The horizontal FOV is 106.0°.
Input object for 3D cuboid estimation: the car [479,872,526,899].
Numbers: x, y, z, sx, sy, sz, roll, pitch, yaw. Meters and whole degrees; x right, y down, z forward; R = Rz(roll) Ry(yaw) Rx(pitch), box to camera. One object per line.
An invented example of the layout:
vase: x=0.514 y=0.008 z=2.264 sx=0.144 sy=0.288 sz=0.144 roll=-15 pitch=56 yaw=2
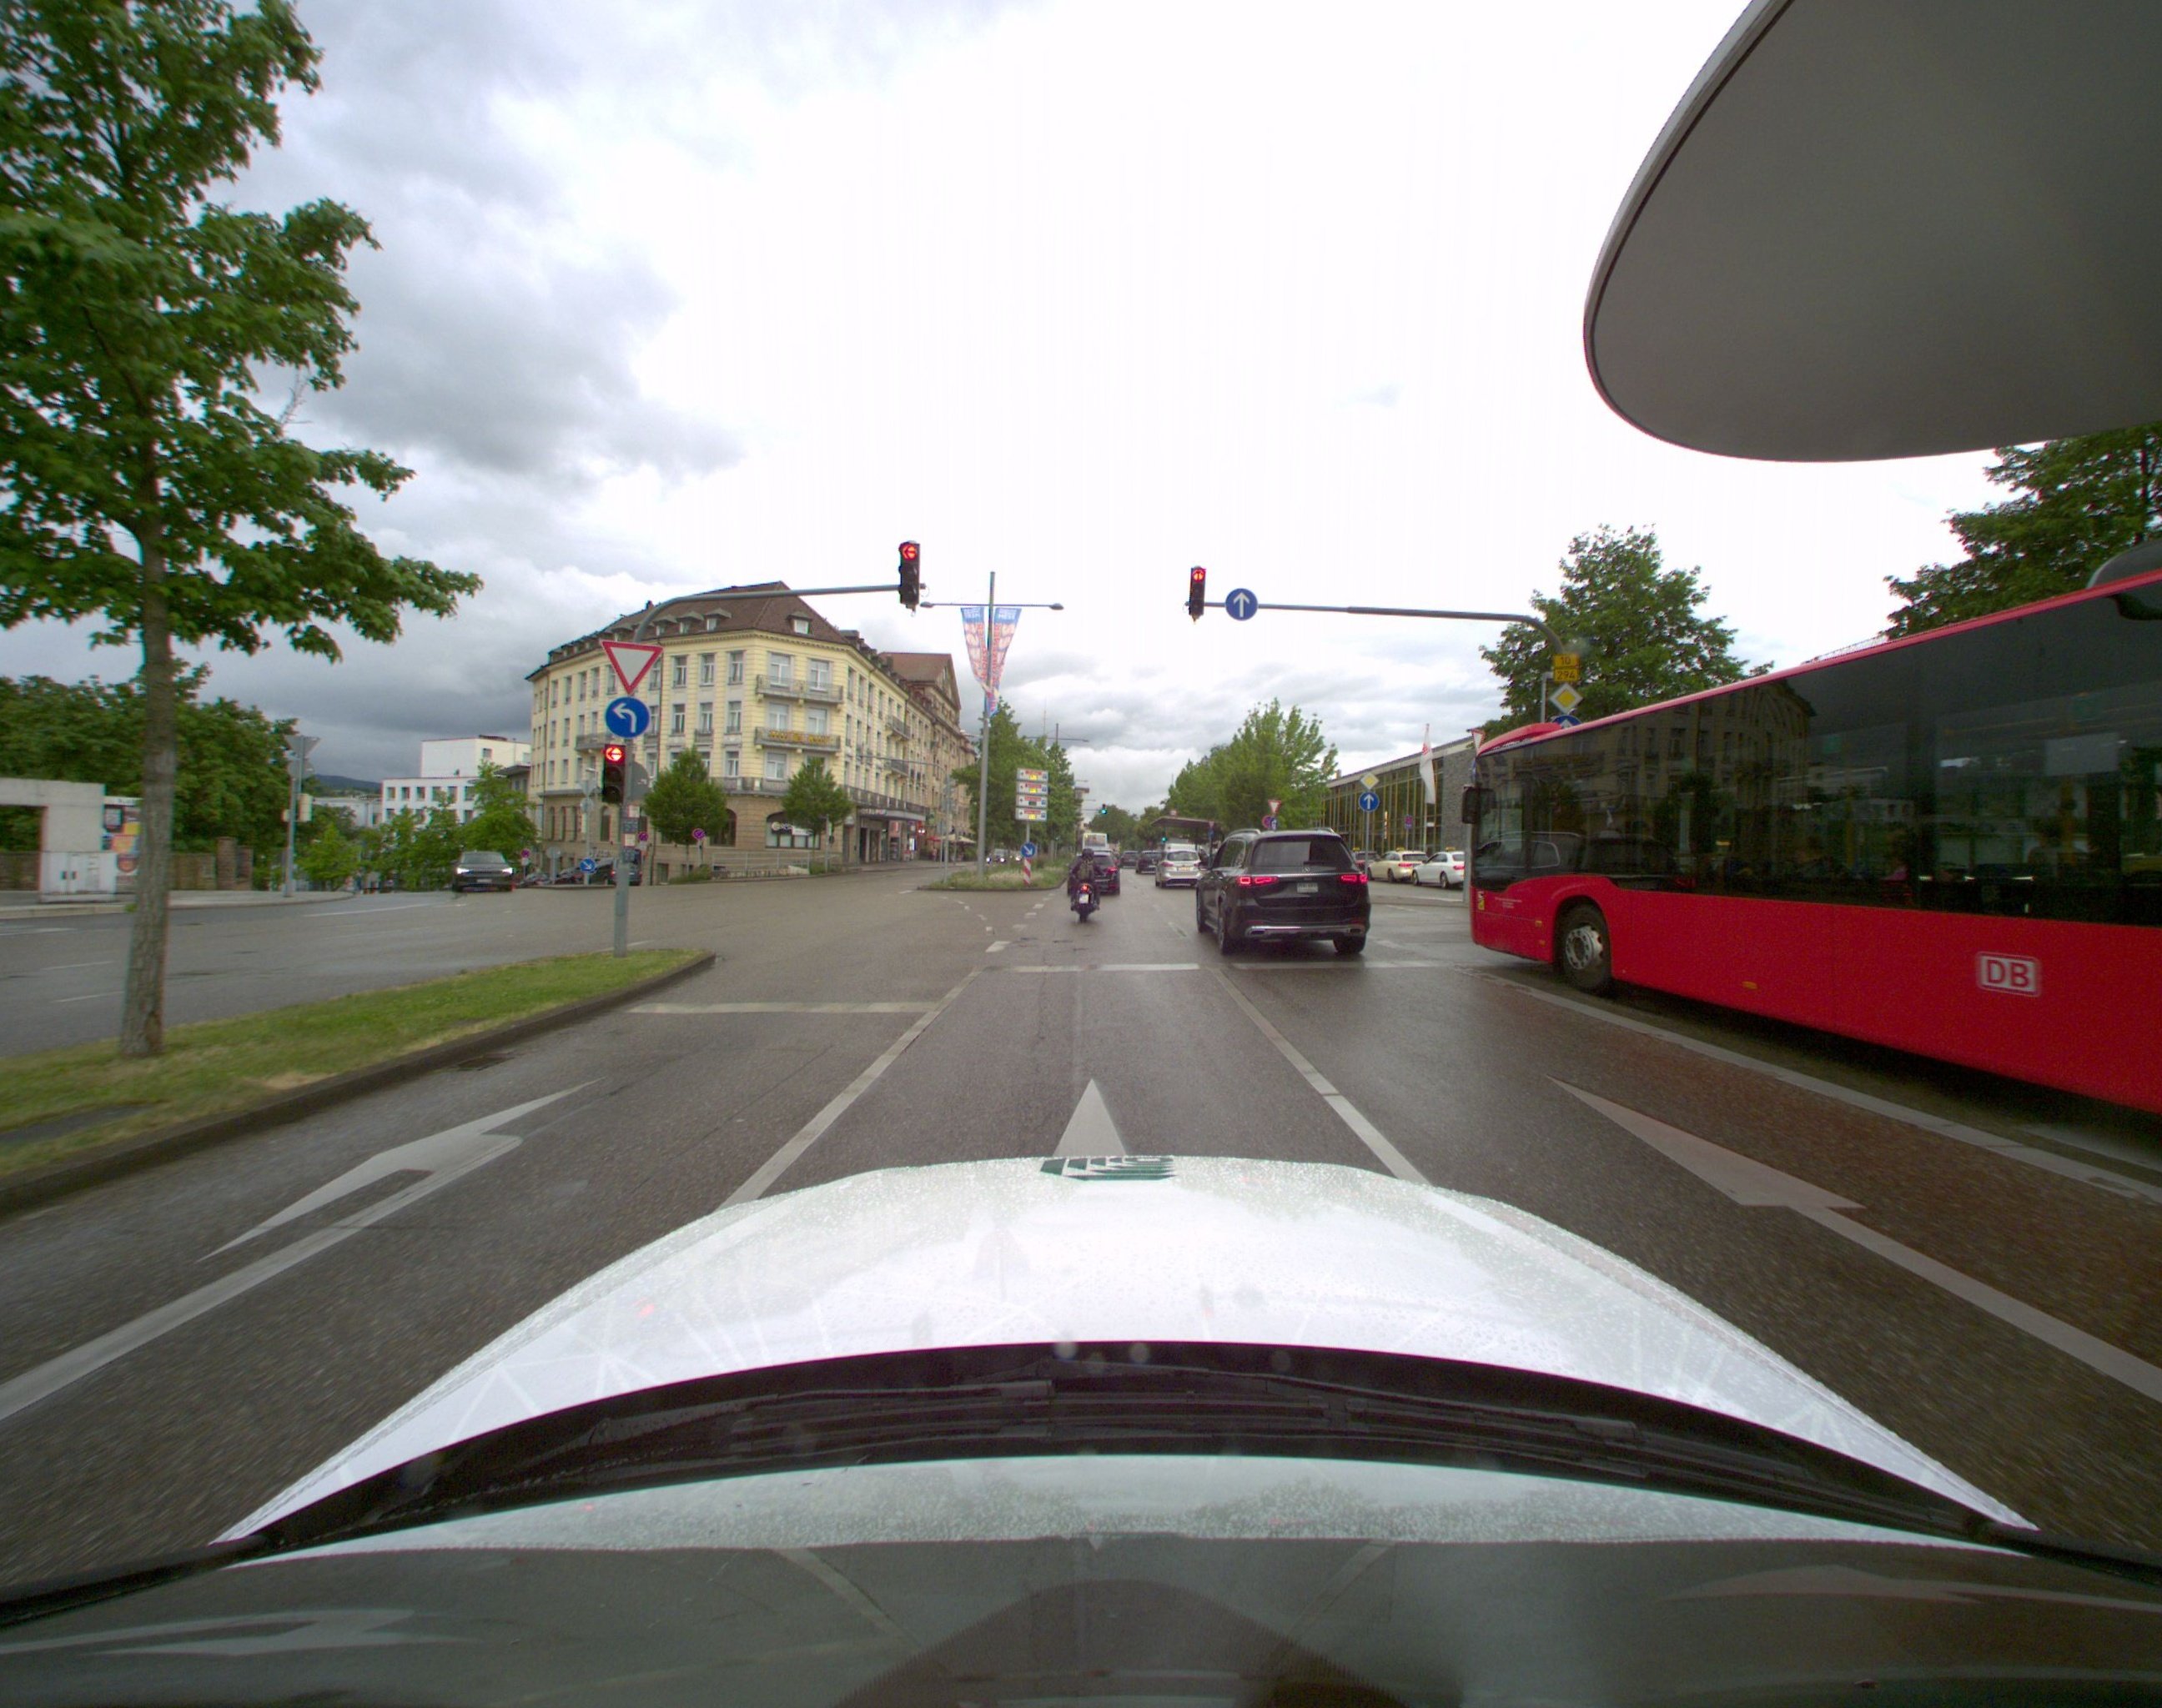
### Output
car: x=-40.965 y=2.201 z=57.674 sx=3.575 sy=1.812 sz=1.788 roll=0 pitch=0 yaw=38

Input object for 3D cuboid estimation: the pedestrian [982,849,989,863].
pedestrian: x=-11.626 y=0.227 z=99.214 sx=0.672 sy=1.701 sz=0.634 roll=0 pitch=0 yaw=1

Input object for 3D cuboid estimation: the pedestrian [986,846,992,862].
pedestrian: x=-11.138 y=-0.002 z=98.851 sx=0.756 sy=2.013 sz=0.832 roll=0 pitch=0 yaw=-5

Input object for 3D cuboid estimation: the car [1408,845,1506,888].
car: x=14.717 y=0.456 z=32.187 sx=1.768 sy=1.589 sz=4.615 roll=0 pitch=0 yaw=0

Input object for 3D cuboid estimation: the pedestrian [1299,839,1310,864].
pedestrian: x=21.936 y=-0.273 z=79.971 sx=0.839 sy=2.411 sz=0.863 roll=0 pitch=0 yaw=3

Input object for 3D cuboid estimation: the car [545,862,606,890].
car: x=-31.958 y=1.379 z=51.494 sx=3.948 sy=1.640 sz=2.013 roll=-1 pitch=-1 yaw=37

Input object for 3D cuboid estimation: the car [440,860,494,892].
car: x=-40.480 y=1.428 z=53.661 sx=3.949 sy=2.013 sz=2.012 roll=0 pitch=0 yaw=40

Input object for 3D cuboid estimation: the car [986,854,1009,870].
car: x=-8.625 y=0.773 z=84.297 sx=1.764 sy=1.530 sz=4.081 roll=-3 pitch=0 yaw=3

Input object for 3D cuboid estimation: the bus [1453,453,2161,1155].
bus: x=6.322 y=-0.238 z=6.029 sx=2.733 sy=3.174 sz=10.198 roll=0 pitch=0 yaw=2

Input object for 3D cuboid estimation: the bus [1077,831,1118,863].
bus: x=1.632 y=-0.709 z=89.162 sx=3.750 sy=3.209 sz=15.515 roll=0 pitch=0 yaw=-2

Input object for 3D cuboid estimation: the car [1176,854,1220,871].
car: x=12.718 y=0.898 z=88.664 sx=4.349 sy=1.857 sz=1.988 roll=0 pitch=0 yaw=-19

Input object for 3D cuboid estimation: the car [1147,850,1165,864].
car: x=8.442 y=0.280 z=91.885 sx=1.809 sy=1.530 sz=4.001 roll=0 pitch=0 yaw=1

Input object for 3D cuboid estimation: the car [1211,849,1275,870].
car: x=11.397 y=0.382 z=57.622 sx=1.788 sy=1.385 sz=4.317 roll=0 pitch=0 yaw=-39

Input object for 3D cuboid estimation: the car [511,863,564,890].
car: x=-36.309 y=1.469 z=54.402 sx=3.864 sy=1.640 sz=1.805 roll=0 pitch=0 yaw=37

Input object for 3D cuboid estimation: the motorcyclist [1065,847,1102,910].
motorcyclist: x=0.065 y=0.515 z=17.491 sx=0.761 sy=1.331 sz=0.866 roll=0 pitch=0 yaw=1

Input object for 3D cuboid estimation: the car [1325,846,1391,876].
car: x=14.917 y=0.371 z=44.133 sx=1.907 sy=1.524 sz=4.741 roll=0 pitch=0 yaw=0

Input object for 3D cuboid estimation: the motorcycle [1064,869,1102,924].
motorcycle: x=0.067 y=0.878 z=17.493 sx=0.763 sy=1.077 sz=2.176 roll=0 pitch=0 yaw=2

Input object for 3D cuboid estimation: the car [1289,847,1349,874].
car: x=14.694 y=0.392 z=50.626 sx=1.990 sy=1.600 sz=4.814 roll=0 pitch=0 yaw=-5

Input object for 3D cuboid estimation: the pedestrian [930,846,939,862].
pedestrian: x=-14.026 y=0.022 z=77.848 sx=0.666 sy=1.510 sz=0.513 roll=0 pitch=0 yaw=-37

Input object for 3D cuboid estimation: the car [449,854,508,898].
car: x=-24.642 y=0.827 z=33.251 sx=1.836 sy=1.640 sz=4.548 roll=0 pitch=0 yaw=-38

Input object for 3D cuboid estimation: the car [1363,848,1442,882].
car: x=14.838 y=0.466 z=37.845 sx=1.840 sy=1.451 sz=4.666 roll=0 pitch=0 yaw=0

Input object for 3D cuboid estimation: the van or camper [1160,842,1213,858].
van or camper: x=14.162 y=-0.510 z=109.270 sx=6.787 sy=2.014 sz=2.366 roll=0 pitch=-1 yaw=-25

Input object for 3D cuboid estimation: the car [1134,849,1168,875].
car: x=4.351 y=0.457 z=51.309 sx=1.805 sy=1.581 sz=3.903 roll=0 pitch=0 yaw=0

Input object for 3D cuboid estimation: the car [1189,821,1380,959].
car: x=2.985 y=0.457 z=13.038 sx=1.986 sy=1.806 sz=4.691 roll=0 pitch=0 yaw=1

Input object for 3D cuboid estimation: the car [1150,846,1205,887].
car: x=3.866 y=0.469 z=33.088 sx=1.844 sy=1.567 sz=4.001 roll=0 pitch=0 yaw=1

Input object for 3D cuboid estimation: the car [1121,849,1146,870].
car: x=4.360 y=0.445 z=68.192 sx=1.805 sy=1.642 sz=3.903 roll=0 pitch=0 yaw=0

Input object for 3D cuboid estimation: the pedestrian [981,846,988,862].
pedestrian: x=-11.784 y=0.009 z=99.440 sx=0.756 sy=2.013 sz=0.832 roll=0 pitch=0 yaw=-5

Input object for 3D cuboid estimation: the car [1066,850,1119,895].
car: x=0.432 y=0.581 z=28.155 sx=1.702 sy=1.448 sz=4.001 roll=0 pitch=0 yaw=1

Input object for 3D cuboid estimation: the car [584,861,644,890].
car: x=-27.076 y=1.225 z=47.169 sx=3.949 sy=1.568 sz=1.812 roll=0 pitch=0 yaw=41
